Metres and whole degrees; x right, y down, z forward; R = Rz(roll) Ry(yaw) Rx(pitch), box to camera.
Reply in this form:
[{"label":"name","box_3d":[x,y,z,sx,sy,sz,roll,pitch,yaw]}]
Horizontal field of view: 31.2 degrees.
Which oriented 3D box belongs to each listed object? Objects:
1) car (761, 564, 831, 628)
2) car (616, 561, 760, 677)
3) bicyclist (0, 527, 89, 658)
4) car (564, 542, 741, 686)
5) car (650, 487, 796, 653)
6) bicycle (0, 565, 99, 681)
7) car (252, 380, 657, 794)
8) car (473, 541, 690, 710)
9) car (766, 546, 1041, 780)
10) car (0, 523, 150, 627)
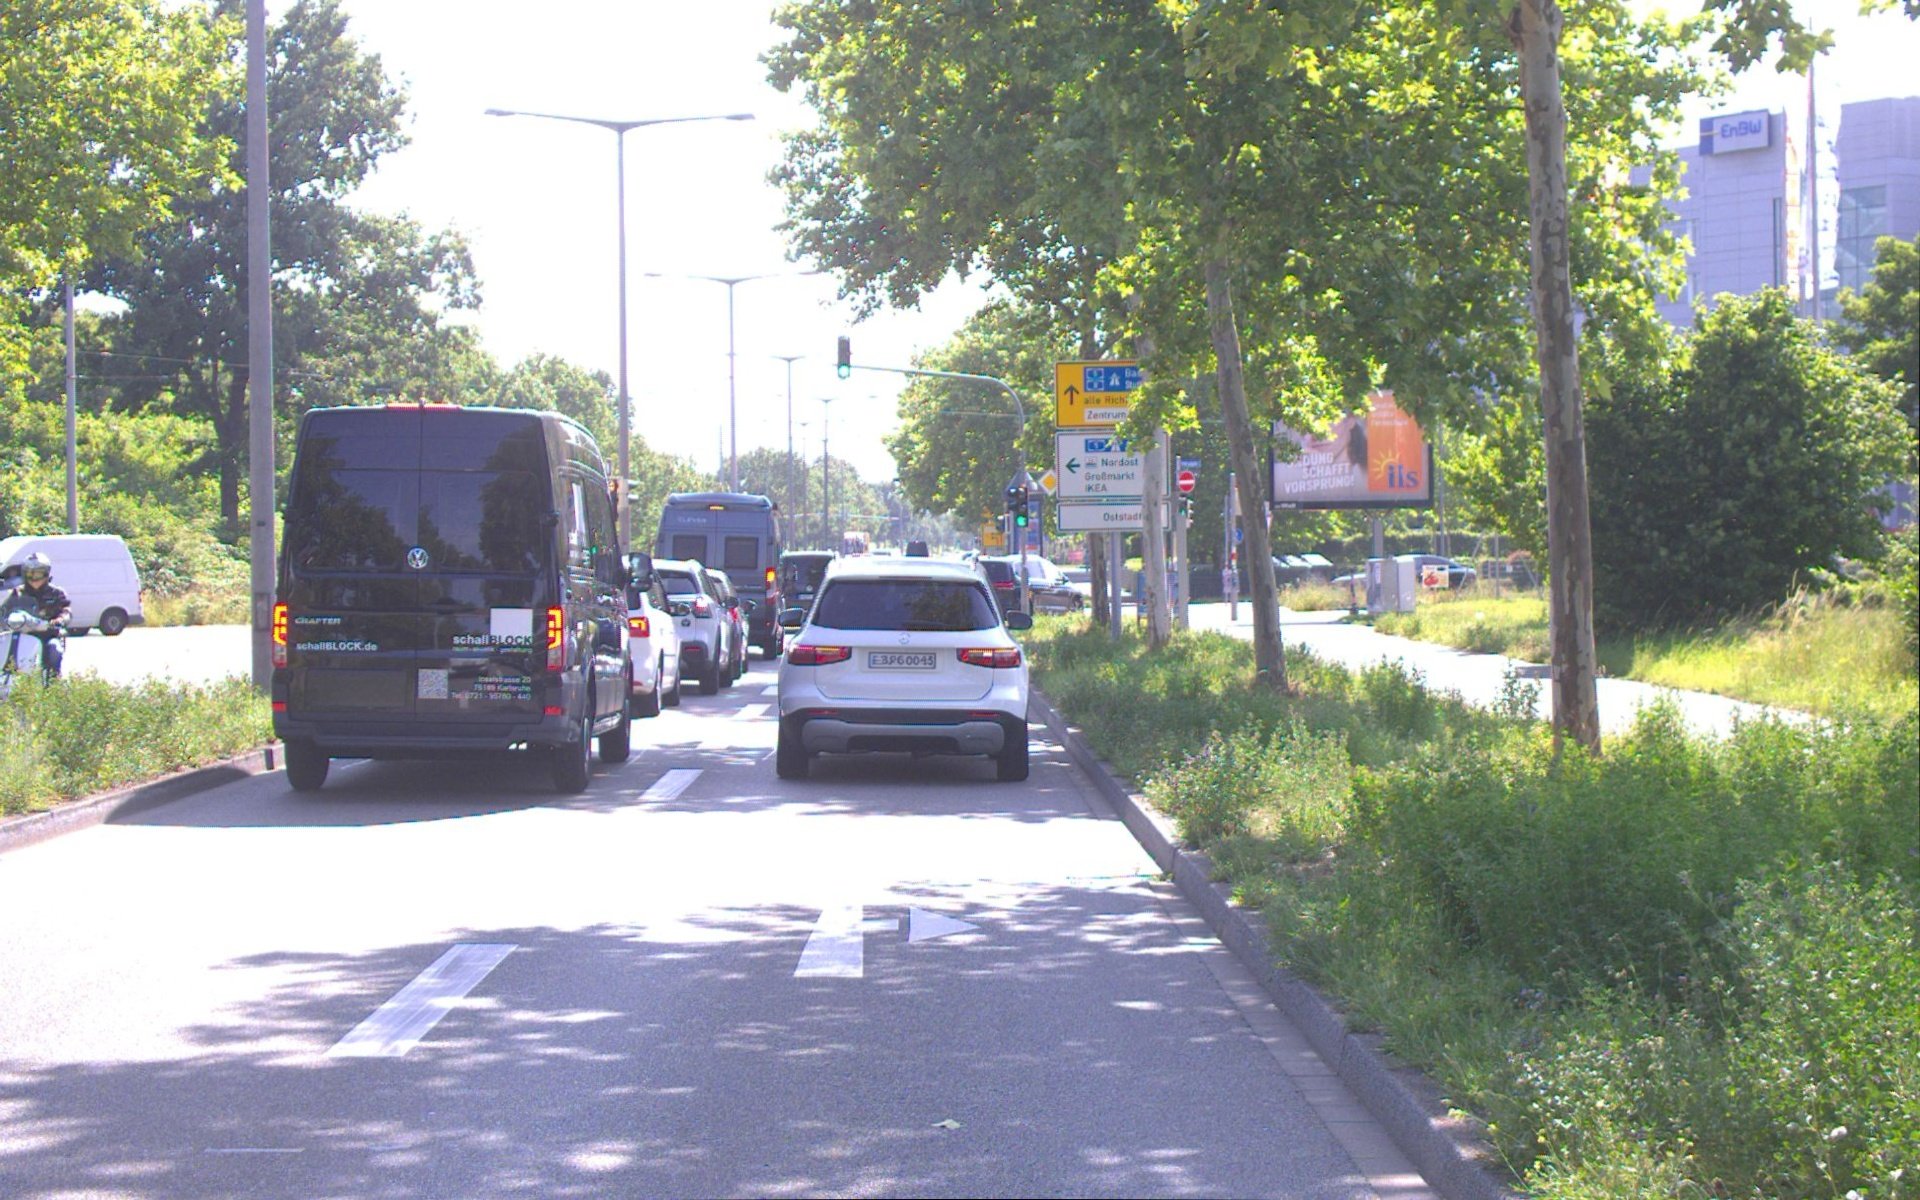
[{"label":"car","box_3d":[-3.683,-0.113,77.599,1.464,1.399,3.477,1,1,-1]},{"label":"car","box_3d":[-3.738,0.227,47.676,1.691,1.499,3.886,1,1,-1]},{"label":"bicyclist","box_3d":[-8.635,-0.076,32.065,0.728,1.186,1.102,1,0,0]},{"label":"car","box_3d":[-3.691,0.148,41.844,1.771,1.641,4.084,0,0,0]},{"label":"car","box_3d":[-3.932,-0.500,57.849,2.081,2.647,4.874,1,0,0]},{"label":"bicycle","box_3d":[-8.648,0.199,31.962,0.728,1.025,2.217,1,0,0]},{"label":"car","box_3d":[-3.477,-0.103,24.880,2.016,2.598,6.168,1,0,0]},{"label":"car","box_3d":[-3.894,0.237,35.989,1.771,1.641,4.352,0,0,0]},{"label":"car","box_3d":[-0.507,0.417,26.197,1.853,1.602,4.001,1,1,-4]},{"label":"car","box_3d":[-21.968,-0.595,81.377,5.125,2.410,1.999,0,1,-44]}]
